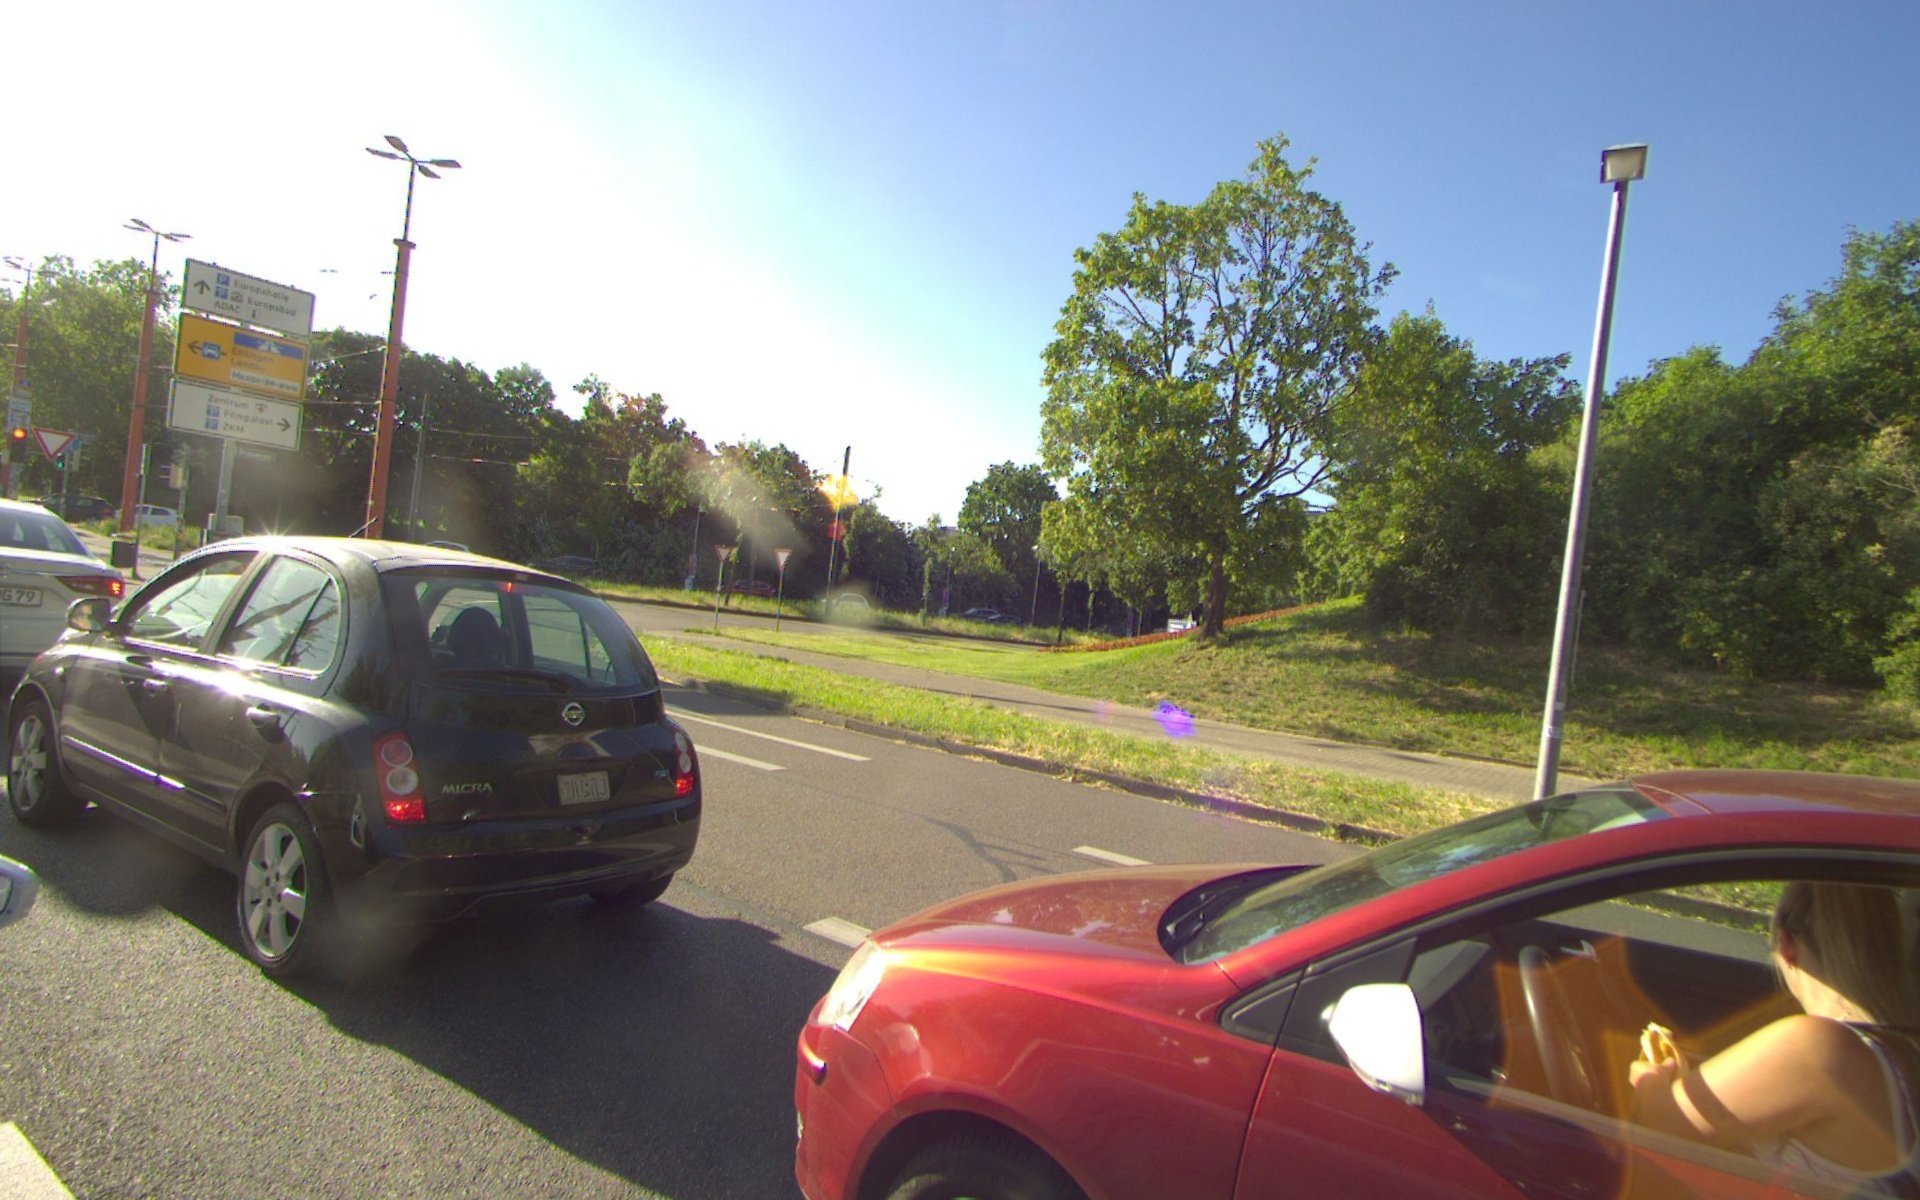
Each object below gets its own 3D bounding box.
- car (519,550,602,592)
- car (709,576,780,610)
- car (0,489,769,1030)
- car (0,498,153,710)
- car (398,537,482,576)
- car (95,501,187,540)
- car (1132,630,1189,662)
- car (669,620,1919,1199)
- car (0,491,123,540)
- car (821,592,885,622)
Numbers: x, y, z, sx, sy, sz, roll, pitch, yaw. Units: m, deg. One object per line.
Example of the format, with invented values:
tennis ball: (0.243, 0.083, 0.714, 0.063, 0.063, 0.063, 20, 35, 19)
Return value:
car: (-23.783, -1.724, 59.938, 4.169, 1.906, 1.750, 8, -1, -35)
car: (-14.681, -0.445, 68.607, 4.257, 1.725, 1.833, 8, -1, -29)
car: (-2.864, 0.461, 4.721, 3.555, 1.518, 1.657, 7, -2, 32)
car: (-8.365, -0.174, 8.023, 4.130, 1.454, 1.723, 7, -1, 33)
car: (-30.483, -2.554, 59.006, 4.200, 1.701, 1.689, 8, -1, -32)
car: (-42.215, -4.069, 51.935, 3.414, 1.384, 1.280, 9, -2, -32)
car: (16.690, 3.826, 83.568, 4.217, 2.038, 1.984, 8, -1, -30)
car: (1.402, 1.012, 1.881, 3.700, 1.455, 1.644, 6, -2, 33)
car: (-41.745, -3.885, 46.812, 4.000, 1.615, 1.981, 8, -1, -35)
car: (-7.361, 0.479, 69.216, 3.970, 1.546, 1.694, 8, -1, -30)
